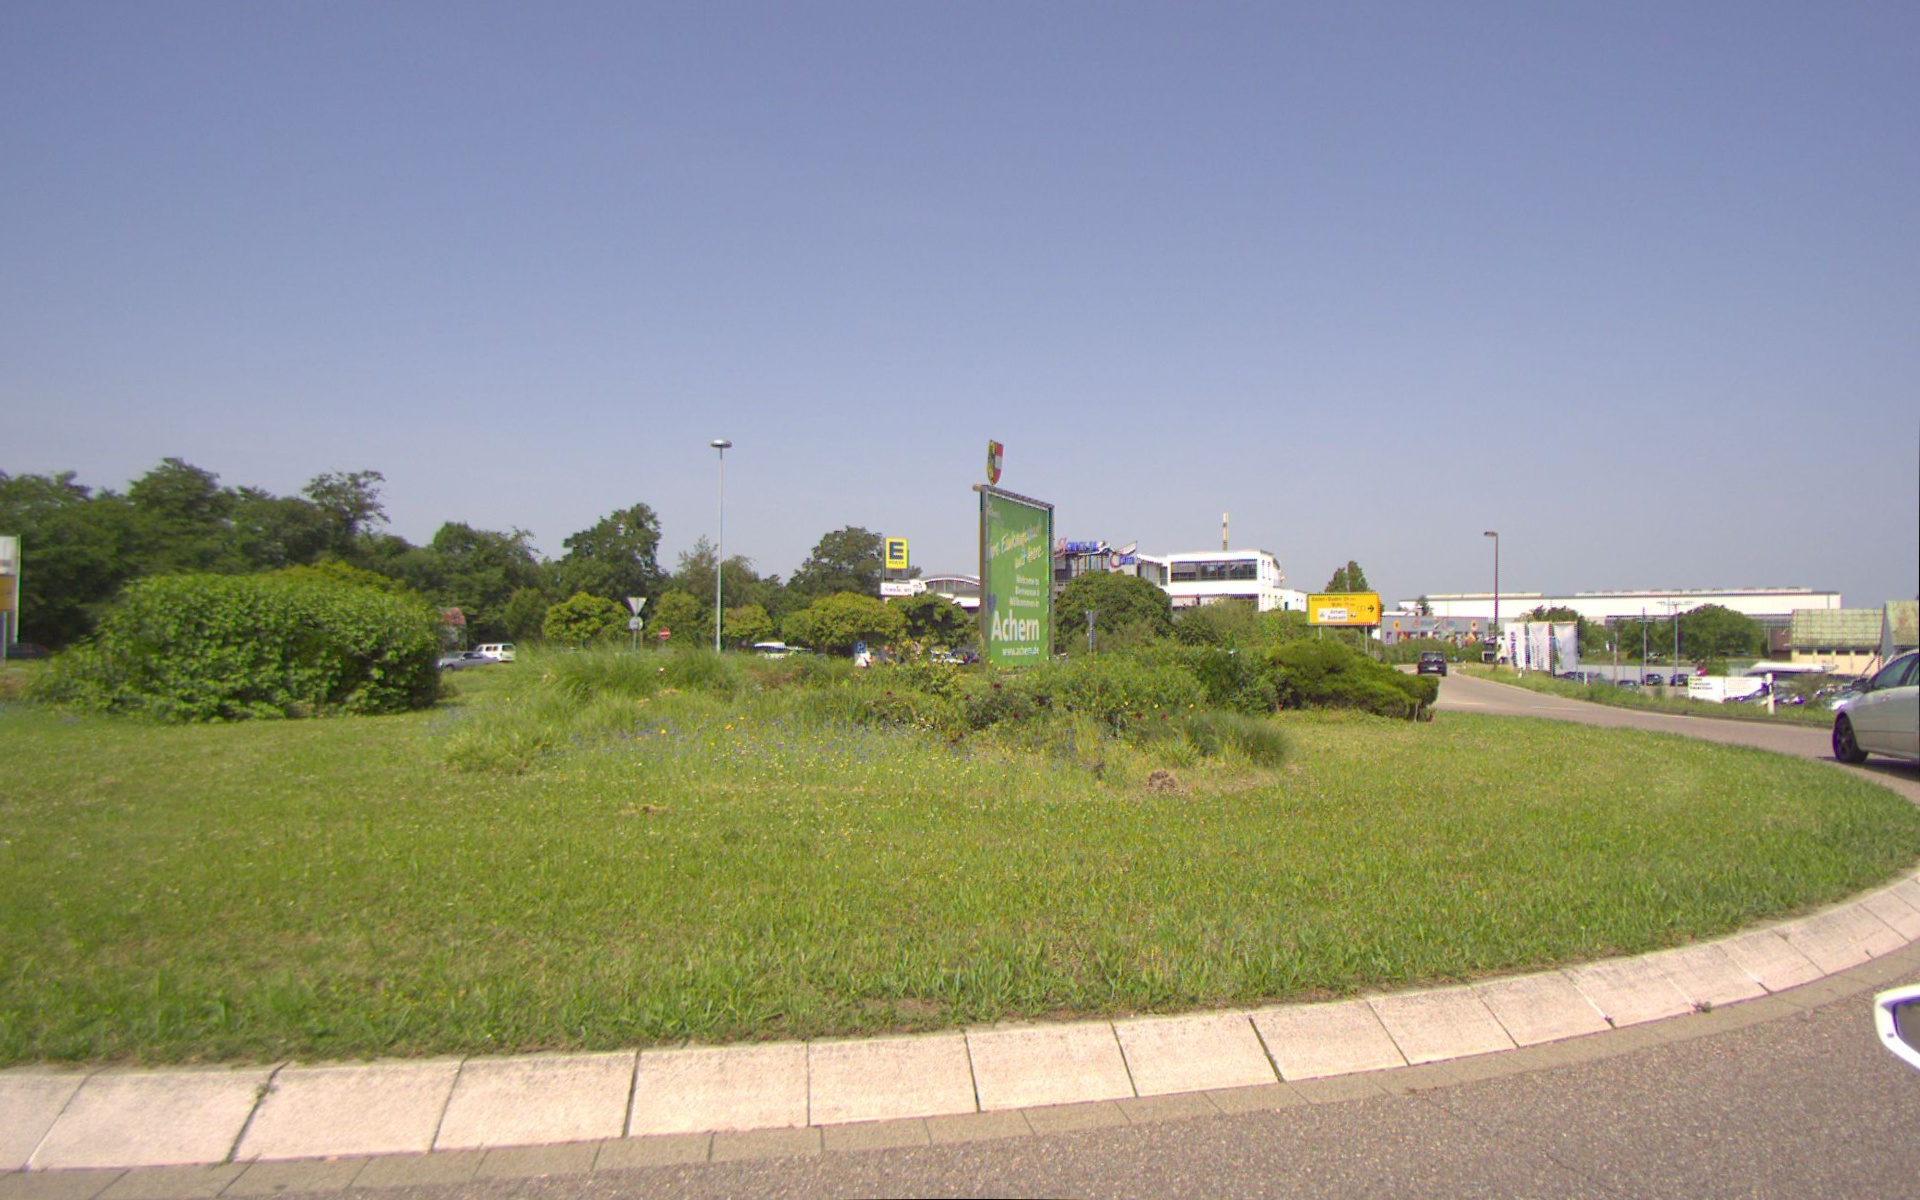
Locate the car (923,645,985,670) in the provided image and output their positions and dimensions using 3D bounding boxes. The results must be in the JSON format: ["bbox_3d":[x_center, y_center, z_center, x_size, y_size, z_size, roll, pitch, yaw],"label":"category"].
[{"bbox_3d":[-0.431,3.968,69.288,3.939,1.594,1.992,-1,-4,39],"label":"car"}]

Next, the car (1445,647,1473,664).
[{"bbox_3d":[66.312,7.399,133.403,3.970,2.040,1.976,4,-3,-42],"label":"car"}]

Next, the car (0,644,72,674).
[{"bbox_3d":[-55.636,3.461,59.064,1.990,1.674,4.636,1,-2,24],"label":"car"}]

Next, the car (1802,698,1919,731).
[{"bbox_3d":[43.299,5.408,47.605,4.688,1.527,2.001,-2,-6,20],"label":"car"}]

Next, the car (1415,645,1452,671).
[{"bbox_3d":[29.612,3.619,62.752,1.801,1.489,4.404,1,-3,29],"label":"car"}]

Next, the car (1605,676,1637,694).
[{"bbox_3d":[61.662,7.920,93.643,2.109,1.476,4.514,0,-3,38],"label":"car"}]

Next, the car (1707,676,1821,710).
[{"bbox_3d":[44.463,5.155,55.669,4.405,1.661,2.150,1,-4,16],"label":"car"}]

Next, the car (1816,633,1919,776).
[{"bbox_3d":[12.457,1.275,12.375,1.752,1.624,3.891,1,0,22],"label":"car"}]

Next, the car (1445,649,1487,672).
[{"bbox_3d":[48.137,5.765,95.569,3.961,2.040,1.981,4,-3,-35],"label":"car"}]

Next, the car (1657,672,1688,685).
[{"bbox_3d":[81.617,9.025,115.078,3.968,1.416,1.977,4,-3,-40],"label":"car"}]
